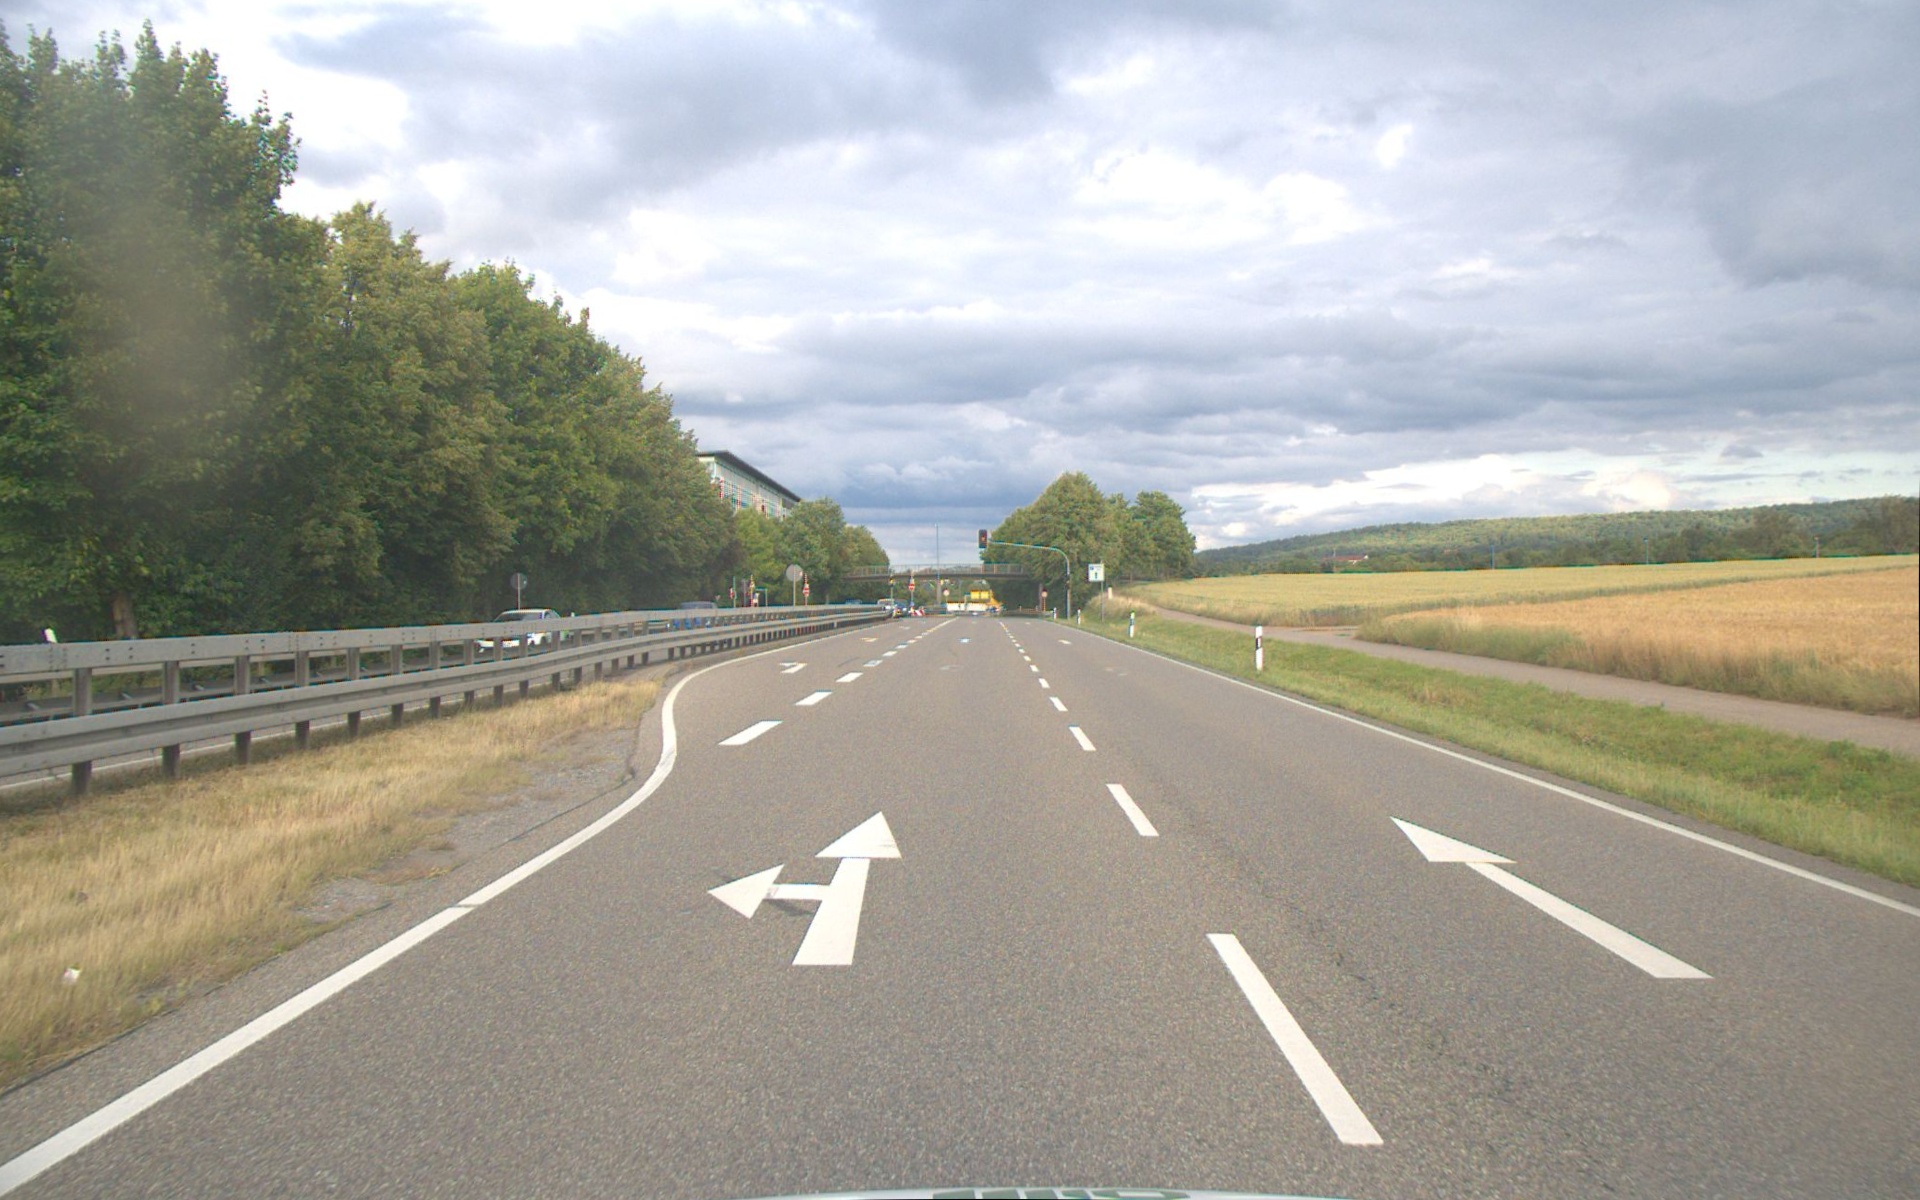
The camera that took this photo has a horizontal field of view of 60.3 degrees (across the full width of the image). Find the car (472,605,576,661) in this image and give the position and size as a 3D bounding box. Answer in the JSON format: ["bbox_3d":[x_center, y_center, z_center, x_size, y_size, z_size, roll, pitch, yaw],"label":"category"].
[{"bbox_3d":[-12.330,0.899,47.036,1.723,1.437,4.459,-1,1,0],"label":"car"}]

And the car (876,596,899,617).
[{"bbox_3d":[-6.967,0.630,160.010,1.908,1.906,4.737,0,0,1],"label":"car"}]

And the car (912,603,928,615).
[{"bbox_3d":[-3.797,0.862,157.972,1.329,1.111,2.922,0,0,2],"label":"car"}]

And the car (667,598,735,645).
[{"bbox_3d":[-8.912,0.716,57.076,1.732,1.493,3.712,-1,1,0],"label":"car"}]

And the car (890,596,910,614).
[{"bbox_3d":[-6.427,0.494,178.149,1.952,1.906,4.737,0,0,1],"label":"car"}]
